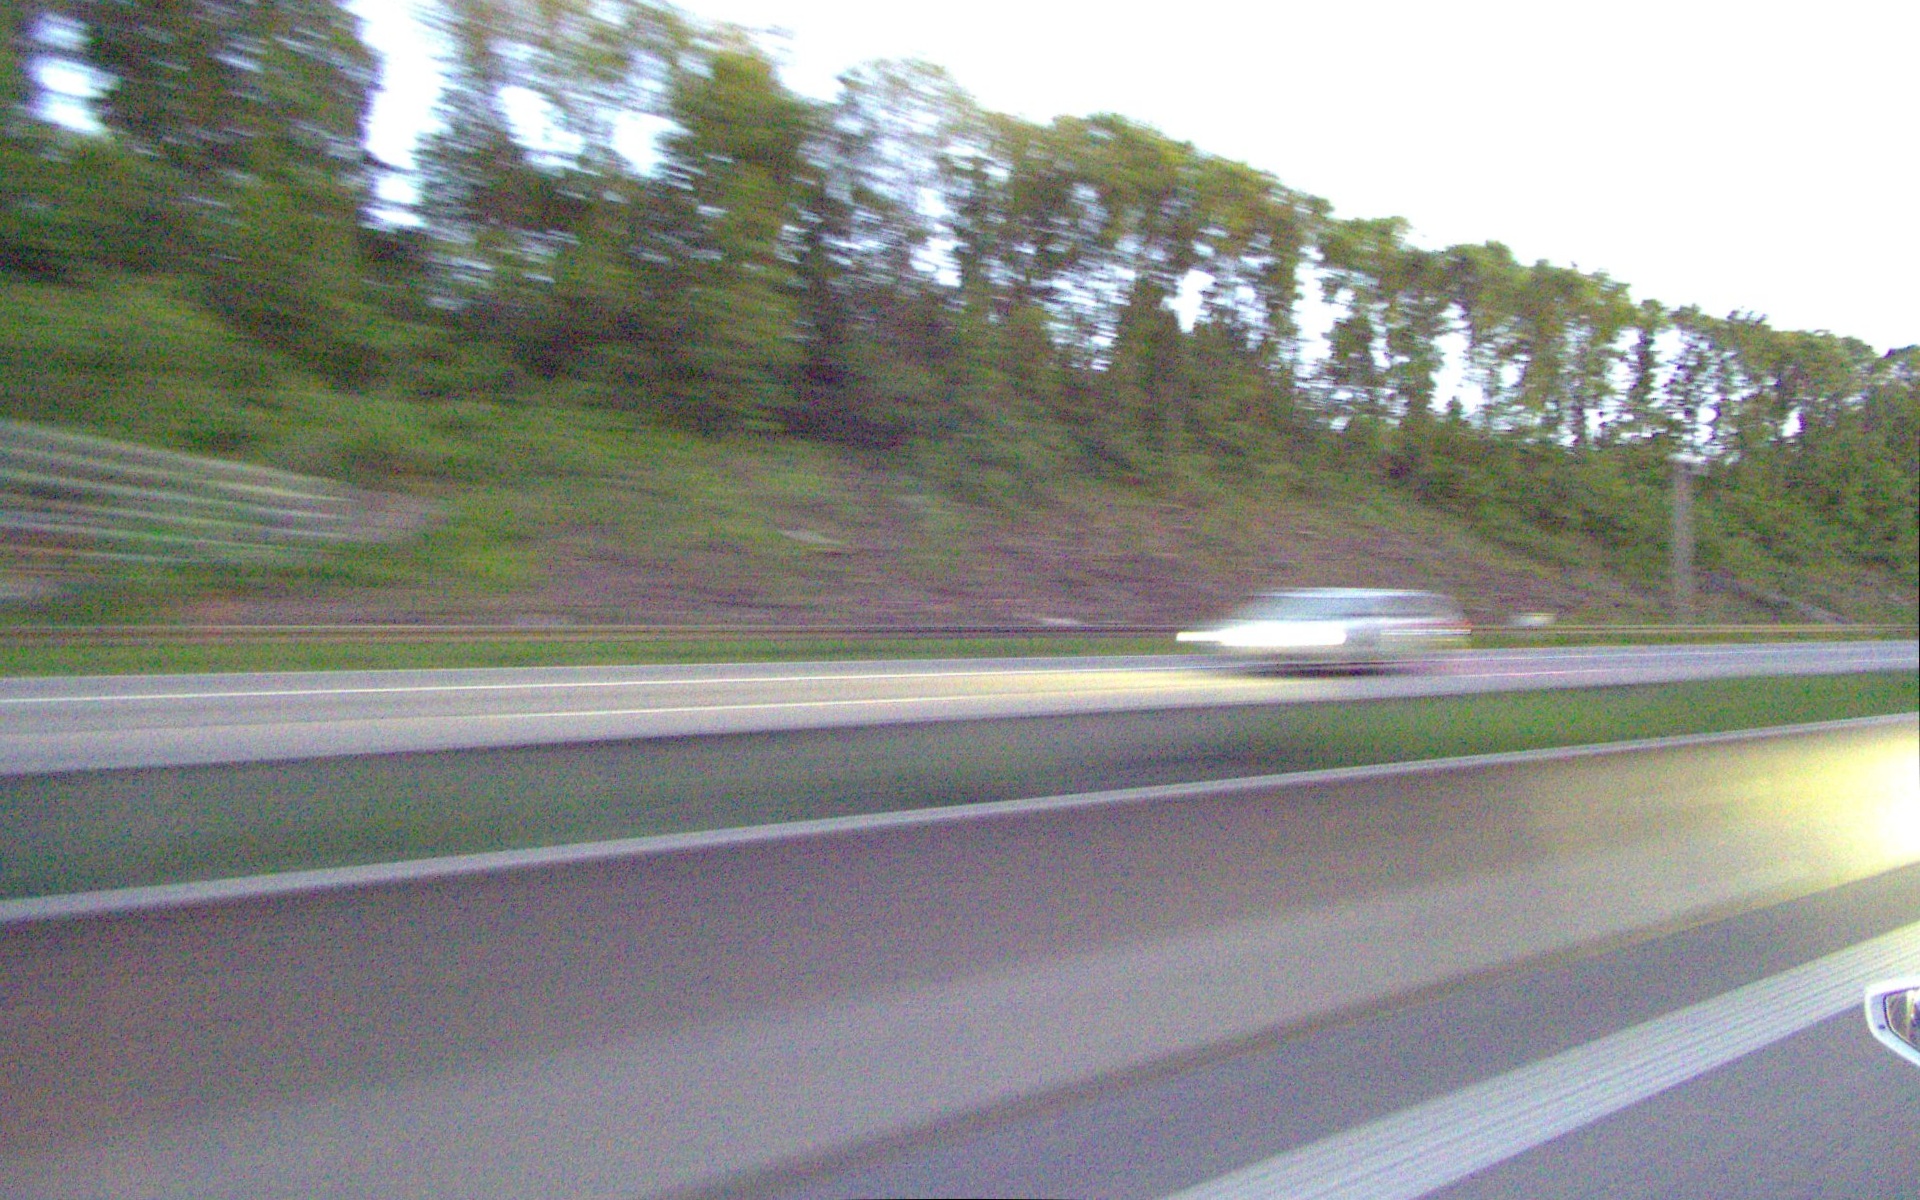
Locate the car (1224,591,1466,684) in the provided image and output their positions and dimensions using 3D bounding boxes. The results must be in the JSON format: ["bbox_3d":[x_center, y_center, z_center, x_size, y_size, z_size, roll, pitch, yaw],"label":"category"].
[{"bbox_3d":[8.135,0.726,21.059,5.224,1.739,1.909,1,0,-30],"label":"car"}]
